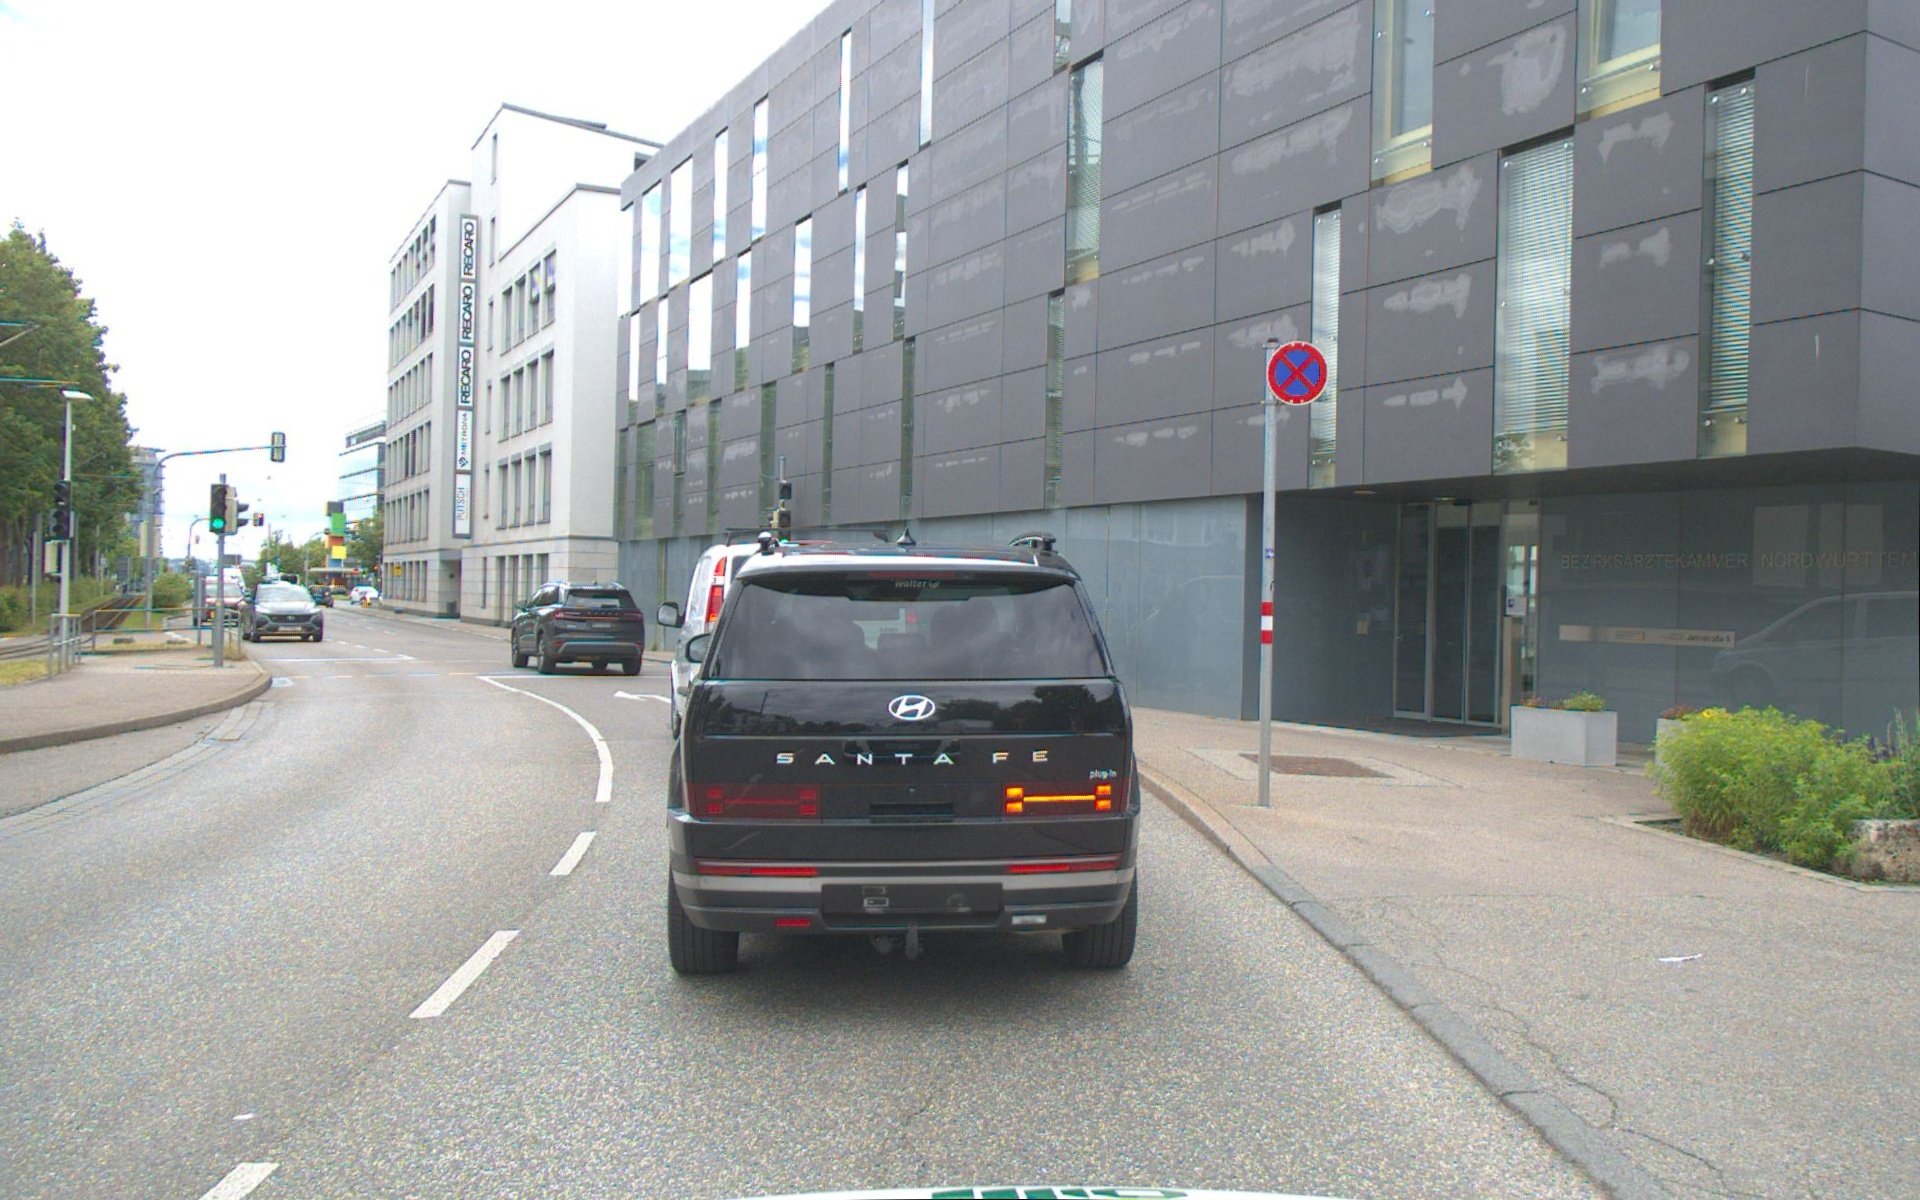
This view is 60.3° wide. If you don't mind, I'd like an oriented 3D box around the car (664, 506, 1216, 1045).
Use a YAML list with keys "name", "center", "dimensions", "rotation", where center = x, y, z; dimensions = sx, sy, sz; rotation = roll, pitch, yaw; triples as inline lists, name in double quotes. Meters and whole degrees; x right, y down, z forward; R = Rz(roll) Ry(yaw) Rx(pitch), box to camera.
- name: "car"
  center: [-0.304, 0.574, 7.761]
  dimensions: [1.872, 1.780, 4.390]
  rotation: [0, 0, -7]

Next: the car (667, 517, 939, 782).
- name: "car"
  center: [-1.597, 0.386, 15.088]
  dimensions: [1.898, 2.029, 4.520]
  rotation: [1, 0, -13]

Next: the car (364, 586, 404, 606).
- name: "car"
  center: [-46.525, -0.330, 133.499]
  dimensions: [1.978, 1.529, 3.949]
  rotation: [1, 0, -36]

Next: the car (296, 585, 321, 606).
- name: "car"
  center: [-53.322, -0.358, 135.343]
  dimensions: [1.735, 1.637, 4.159]
  rotation: [1, 0, -23]

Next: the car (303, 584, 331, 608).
- name: "car"
  center: [-46.220, -0.294, 118.892]
  dimensions: [1.735, 1.637, 4.159]
  rotation: [1, 0, -23]

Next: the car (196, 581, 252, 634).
- name: "car"
  center: [-27.093, 0.252, 60.809]
  dimensions: [1.661, 1.840, 4.313]
  rotation: [-1, 0, -27]

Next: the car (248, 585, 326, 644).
- name: "car"
  center: [-18.440, 0.369, 45.237]
  dimensions: [1.746, 1.504, 3.967]
  rotation: [-1, 0, -26]

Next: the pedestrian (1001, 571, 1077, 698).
- name: "pedestrian"
  center: [1.096, 0.470, 23.013]
  dimensions: [0.702, 1.724, 0.859]
  rotation: [2, -1, -25]

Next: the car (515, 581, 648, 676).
- name: "car"
  center: [-7.116, 0.481, 30.808]
  dimensions: [1.735, 1.637, 4.159]
  rotation: [1, 0, -23]
